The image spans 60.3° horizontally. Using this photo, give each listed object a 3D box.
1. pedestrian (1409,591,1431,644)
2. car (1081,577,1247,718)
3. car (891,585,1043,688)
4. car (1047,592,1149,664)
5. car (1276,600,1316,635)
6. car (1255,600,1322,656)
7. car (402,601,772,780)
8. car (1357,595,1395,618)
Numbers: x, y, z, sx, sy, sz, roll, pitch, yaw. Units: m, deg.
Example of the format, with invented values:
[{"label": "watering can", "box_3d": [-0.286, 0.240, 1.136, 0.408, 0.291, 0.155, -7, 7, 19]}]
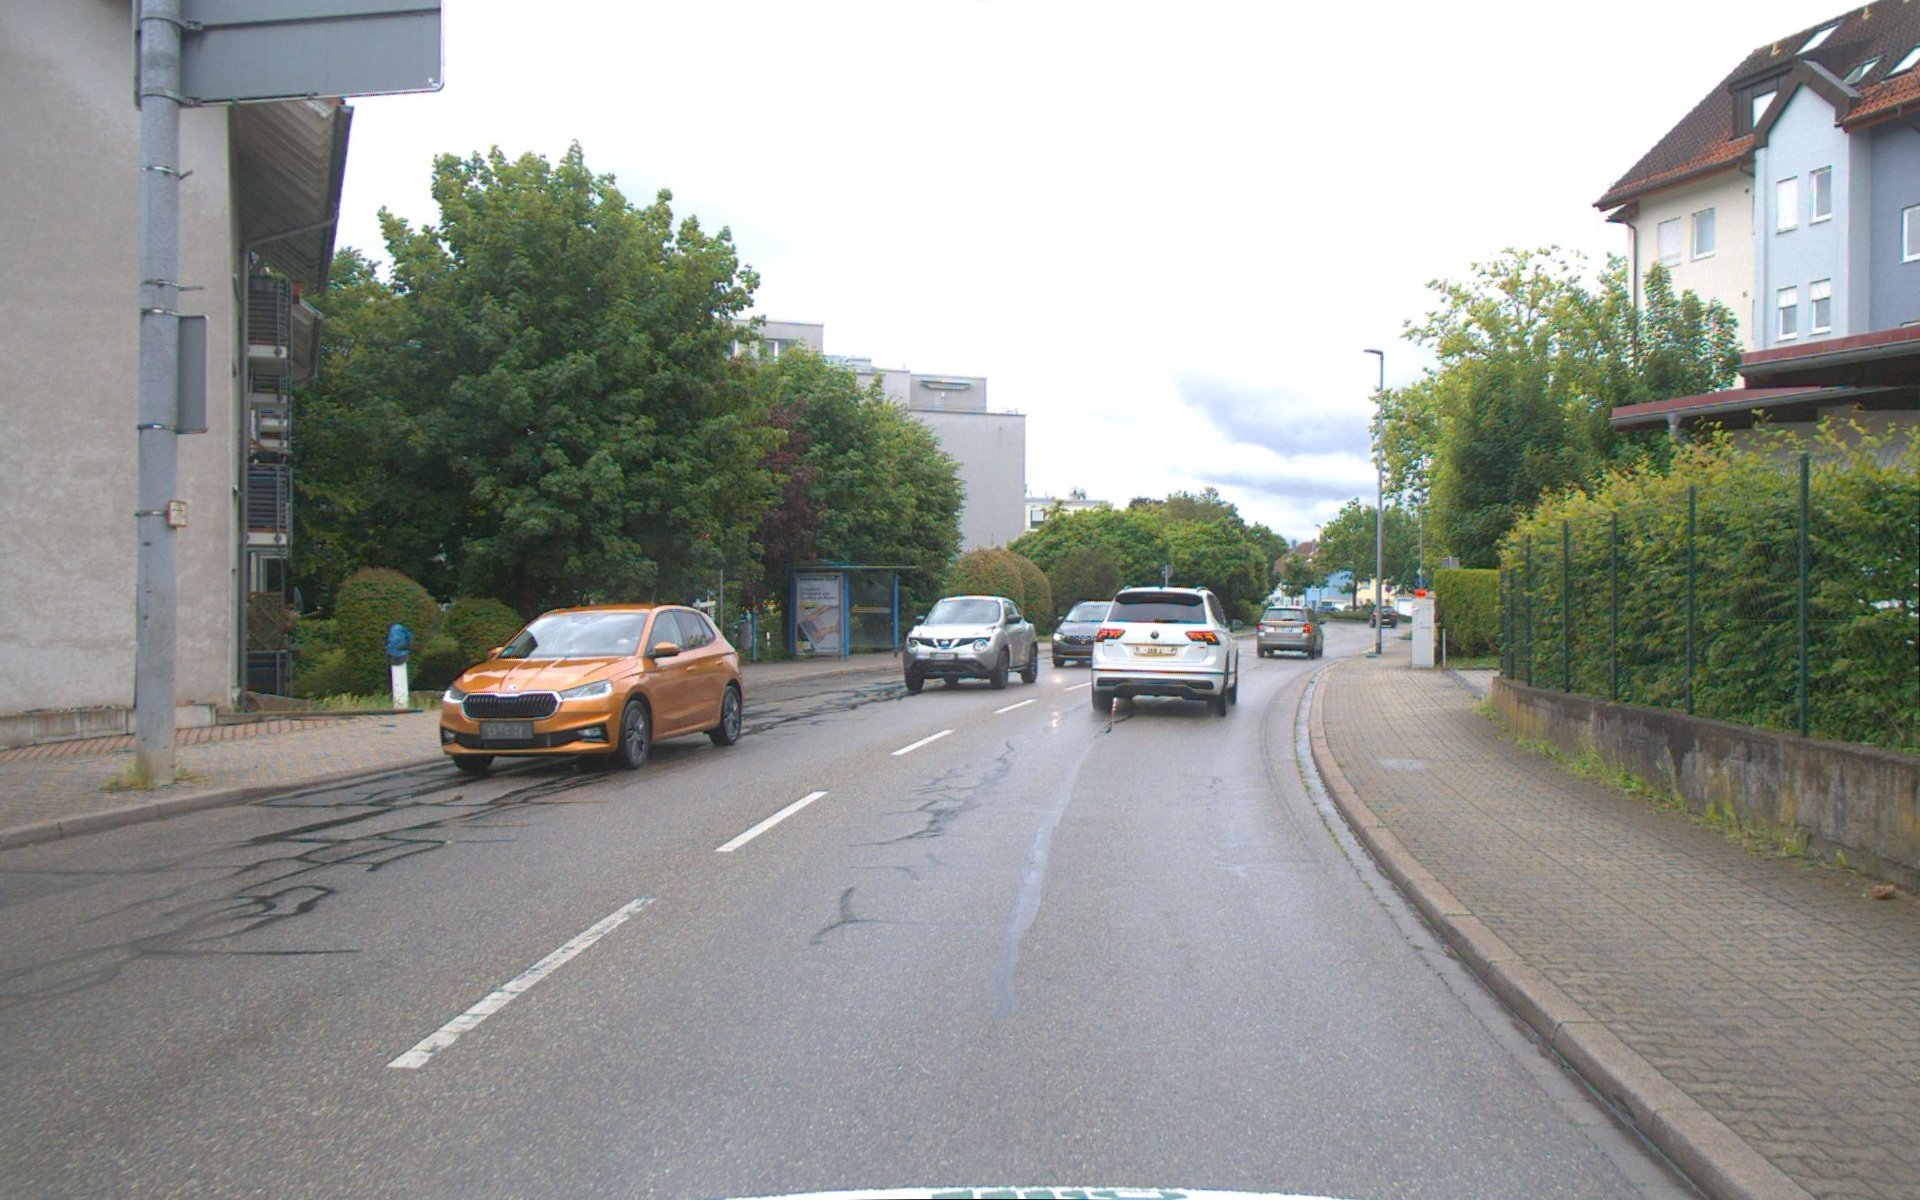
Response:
[{"label": "pedestrian", "box_3d": [14.921, 0.571, 53.624, 0.558, 1.701, 0.722, -1, -2, 24]}, {"label": "car", "box_3d": [2.954, 0.571, 23.198, 1.880, 1.752, 4.269, 1, 1, 13]}, {"label": "car", "box_3d": [0.208, 0.601, 29.398, 1.861, 1.686, 4.119, 0, 0, 13]}, {"label": "car", "box_3d": [3.346, 0.632, 39.527, 1.861, 1.617, 4.119, 0, 0, 13]}, {"label": "car", "box_3d": [17.119, 0.878, 84.248, 1.861, 1.686, 4.119, 0, 0, 13]}, {"label": "car", "box_3d": [9.485, 0.849, 47.626, 1.727, 1.536, 4.003, 0, -2, 13]}, {"label": "car", "box_3d": [-3.371, 0.758, 15.839, 1.861, 1.465, 4.119, 0, 0, 13]}, {"label": "car", "box_3d": [29.085, 0.436, 115.653, 1.963, 1.482, 4.002, 0, -2, 5]}]
